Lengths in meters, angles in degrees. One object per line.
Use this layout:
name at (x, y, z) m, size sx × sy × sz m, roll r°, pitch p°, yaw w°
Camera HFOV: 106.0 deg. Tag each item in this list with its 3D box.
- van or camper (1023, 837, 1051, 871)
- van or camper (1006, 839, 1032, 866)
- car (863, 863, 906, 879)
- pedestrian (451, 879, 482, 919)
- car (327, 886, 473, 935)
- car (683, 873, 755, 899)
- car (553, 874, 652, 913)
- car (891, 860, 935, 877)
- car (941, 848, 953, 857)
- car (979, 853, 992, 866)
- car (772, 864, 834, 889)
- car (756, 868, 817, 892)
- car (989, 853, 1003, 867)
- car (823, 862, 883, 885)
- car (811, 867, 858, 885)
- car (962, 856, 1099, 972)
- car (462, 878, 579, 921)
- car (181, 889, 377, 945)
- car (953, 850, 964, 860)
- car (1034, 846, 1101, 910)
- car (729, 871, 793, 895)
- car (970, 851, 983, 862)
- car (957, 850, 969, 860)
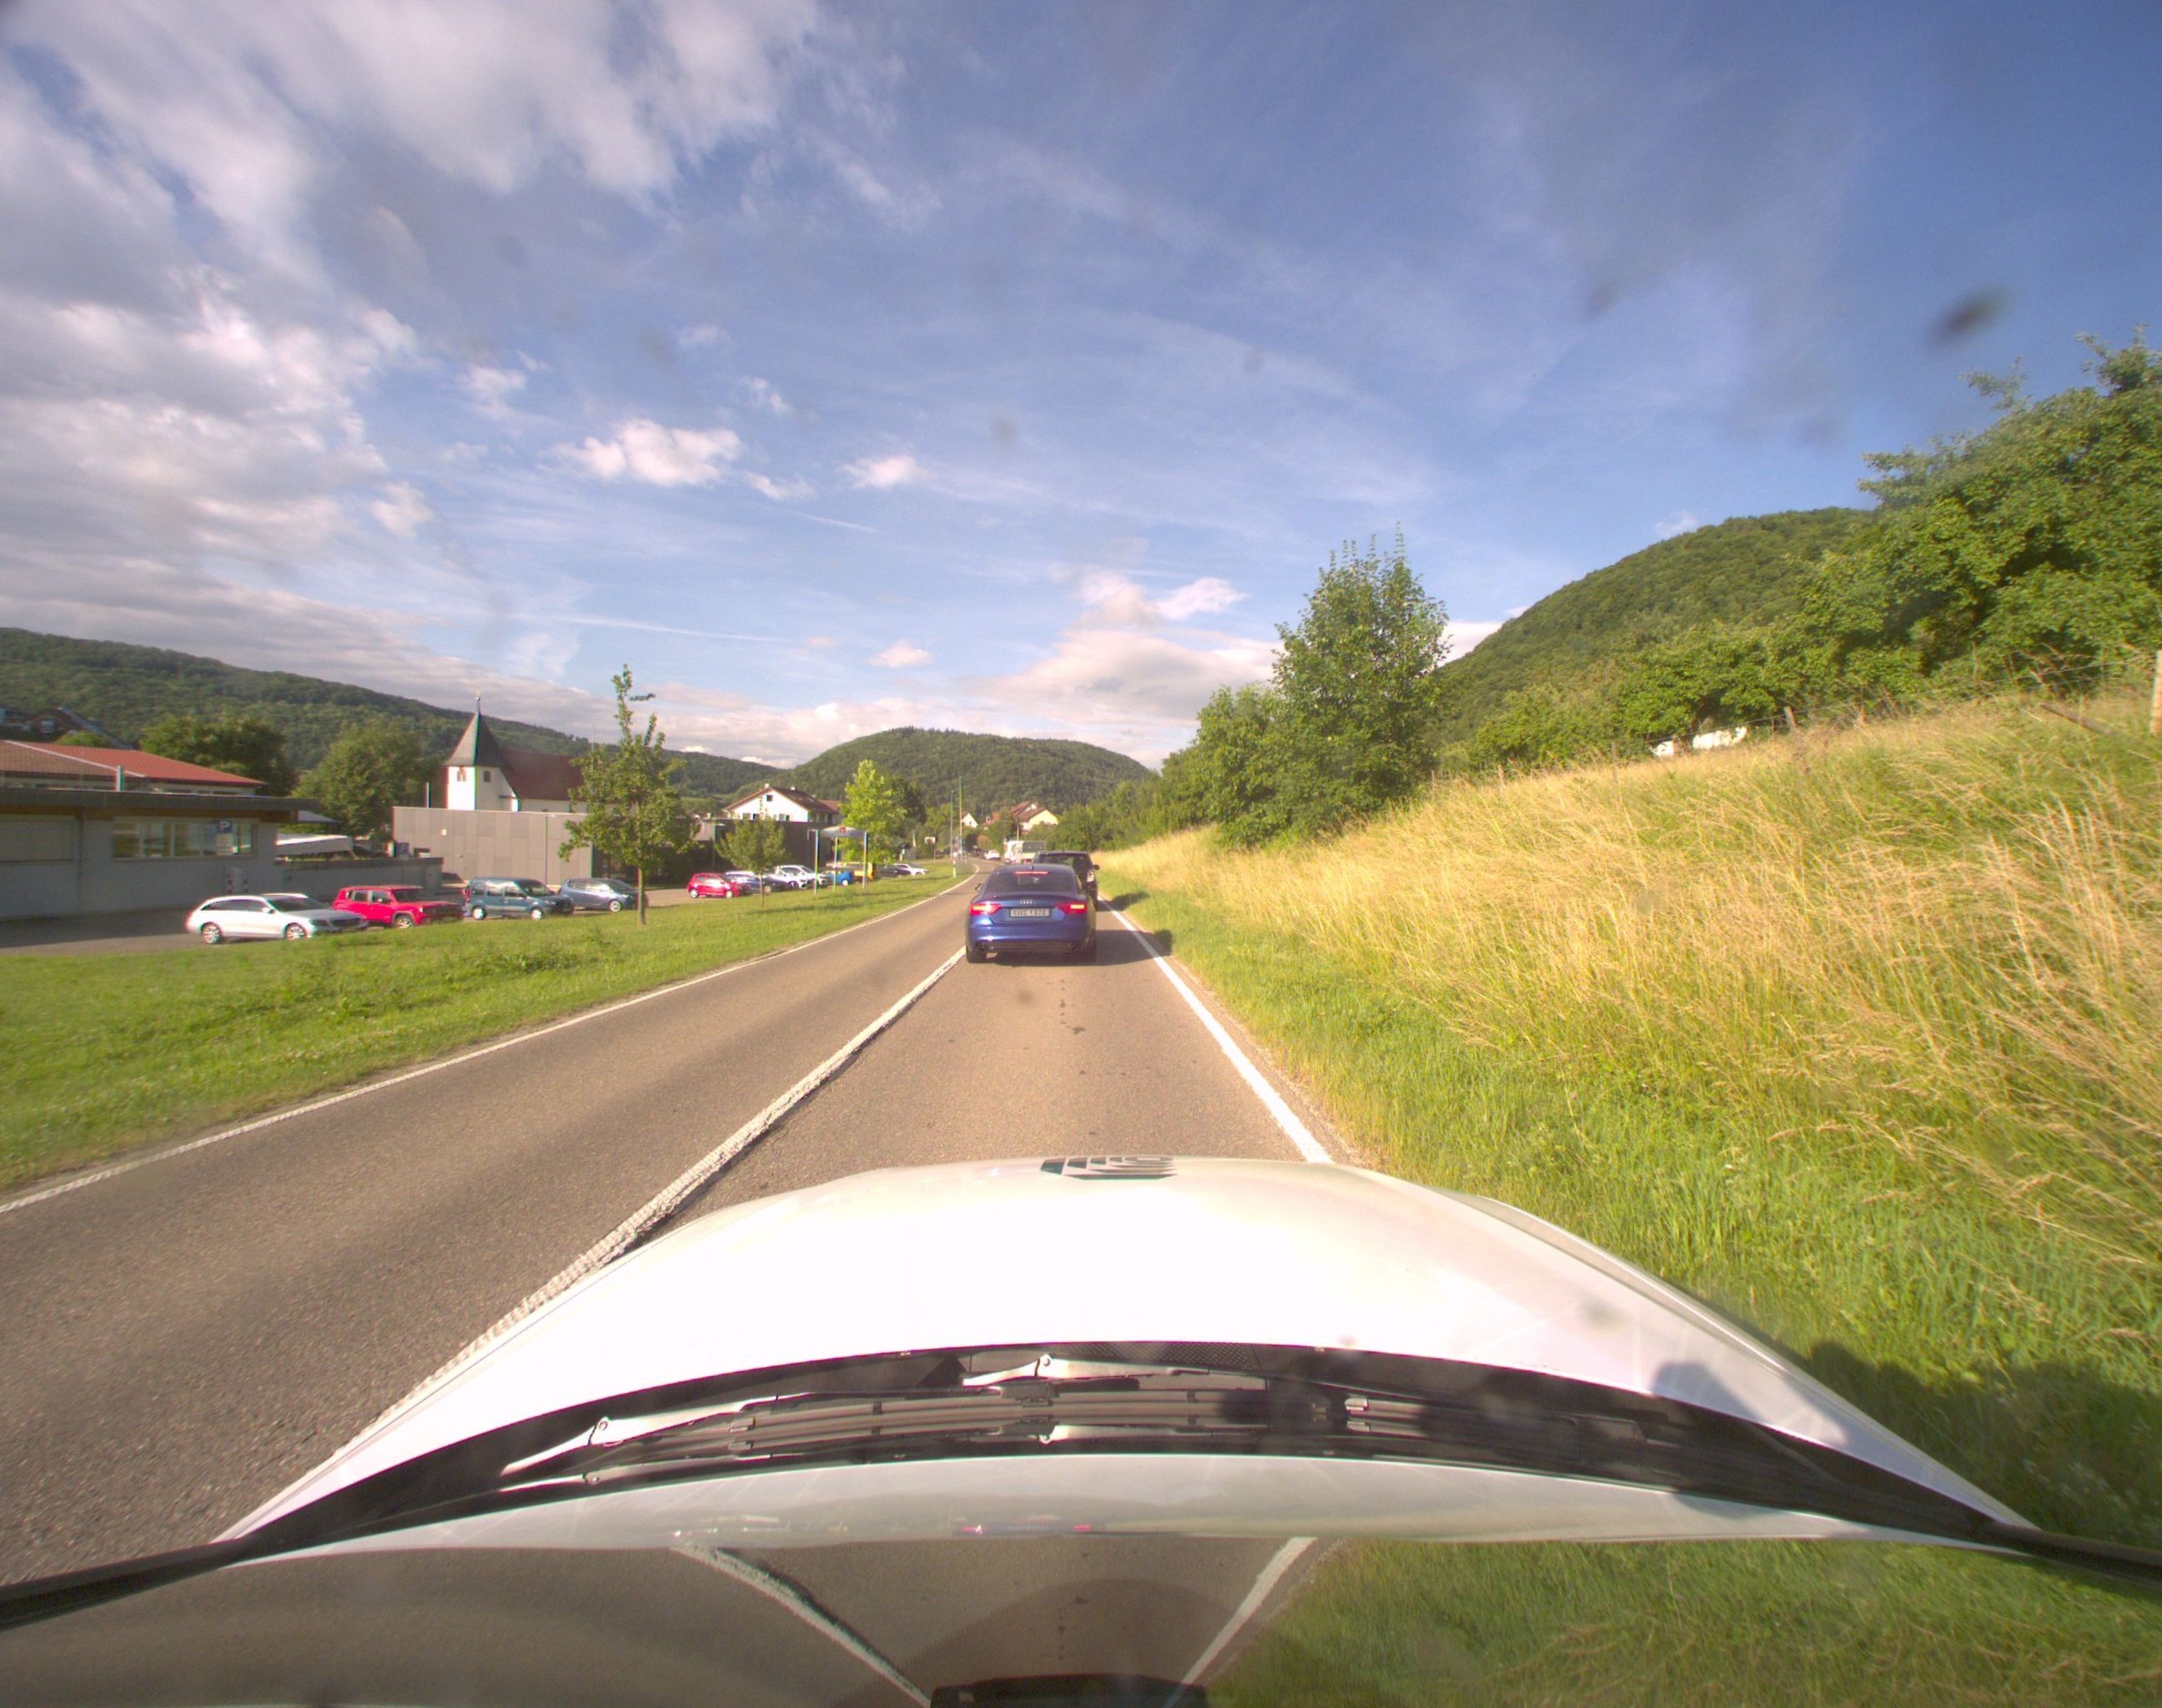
van or camper at (-3.525, 0.026, 64.467) m, size 2.048 × 2.505 × 5.802 m, roll -2°, pitch 0°, yaw -4°
van or camper at (-6.483, -0.129, 84.503) m, size 2.279 × 2.714 × 5.751 m, roll -2°, pitch 0°, yaw -8°
car at (-19.195, 1.677, 79.544) m, size 3.691 × 1.439 × 1.513 m, roll -1°, pitch 0°, yaw 7°
pedestrian at (-26.796, 1.949, 35.515) m, size 0.792 × 1.693 × 0.704 m, roll 0°, pitch -1°, yaw -2°
car at (-24.312, 1.994, 29.151) m, size 3.899 × 1.579 × 1.759 m, roll -1°, pitch 0°, yaw 7°
car at (-21.903, 1.918, 49.351) m, size 3.604 × 1.444 × 1.652 m, roll -1°, pitch 0°, yaw 8°
car at (-23.045, 1.906, 39.313) m, size 3.798 × 1.722 × 1.735 m, roll -1°, pitch 0°, yaw 7°
car at (-17.272, 1.511, 83.806) m, size 4.013 × 1.660 × 1.659 m, roll -1°, pitch 0°, yaw 7°
car at (-29.369, -0.258, 178.386) m, size 1.962 × 1.924 × 3.971 m, roll -1°, pitch 0°, yaw -21°
car at (-14.697, 0.915, 125.793) m, size 1.660 × 1.924 × 3.984 m, roll -1°, pitch 0°, yaw -11°
car at (-20.801, 1.674, 60.937) m, size 4.054 × 1.673 × 1.600 m, roll -1°, pitch 0°, yaw 7°
car at (-20.834, 1.804, 57.611) m, size 3.645 × 1.493 × 1.601 m, roll -1°, pitch 3°, yaw 8°
car at (-12.283, 0.811, 117.460) m, size 1.659 × 1.924 × 3.987 m, roll -2°, pitch 0°, yaw -9°
car at (-19.416, 1.654, 69.474) m, size 4.528 × 1.815 × 1.845 m, roll -1°, pitch 0°, yaw 7°
car at (-20.213, 1.805, 66.892) m, size 3.358 × 1.373 × 1.660 m, roll -1°, pitch 0°, yaw 0°
car at (-0.682, 0.769, 12.214) m, size 1.738 × 1.450 × 3.515 m, roll -1°, pitch 0°, yaw -2°
car at (-23.823, 1.905, 34.706) m, size 3.843 × 1.722 × 1.758 m, roll 0°, pitch 0°, yaw 5°
car at (-25.721, 2.019, 26.220) m, size 4.616 × 1.589 × 2.004 m, roll -1°, pitch 0°, yaw 7°
car at (-25.532, 0.205, 169.776) m, size 1.681 × 1.924 × 3.977 m, roll -1°, pitch 0°, yaw -17°
car at (-0.441, 0.619, 22.448) m, size 1.642 × 1.625 × 3.511 m, roll 1°, pitch 0°, yaw -4°
car at (-21.389, 1.925, 54.450) m, size 3.604 × 1.405 × 1.600 m, roll -1°, pitch 1°, yaw 8°
car at (-18.622, 0.516, 144.855) m, size 1.680 × 1.924 × 3.978 m, roll -1°, pitch 0°, yaw -16°
car at (-23.397, 0.157, 161.020) m, size 1.681 × 1.924 × 3.976 m, roll -1°, pitch 0°, yaw -18°
